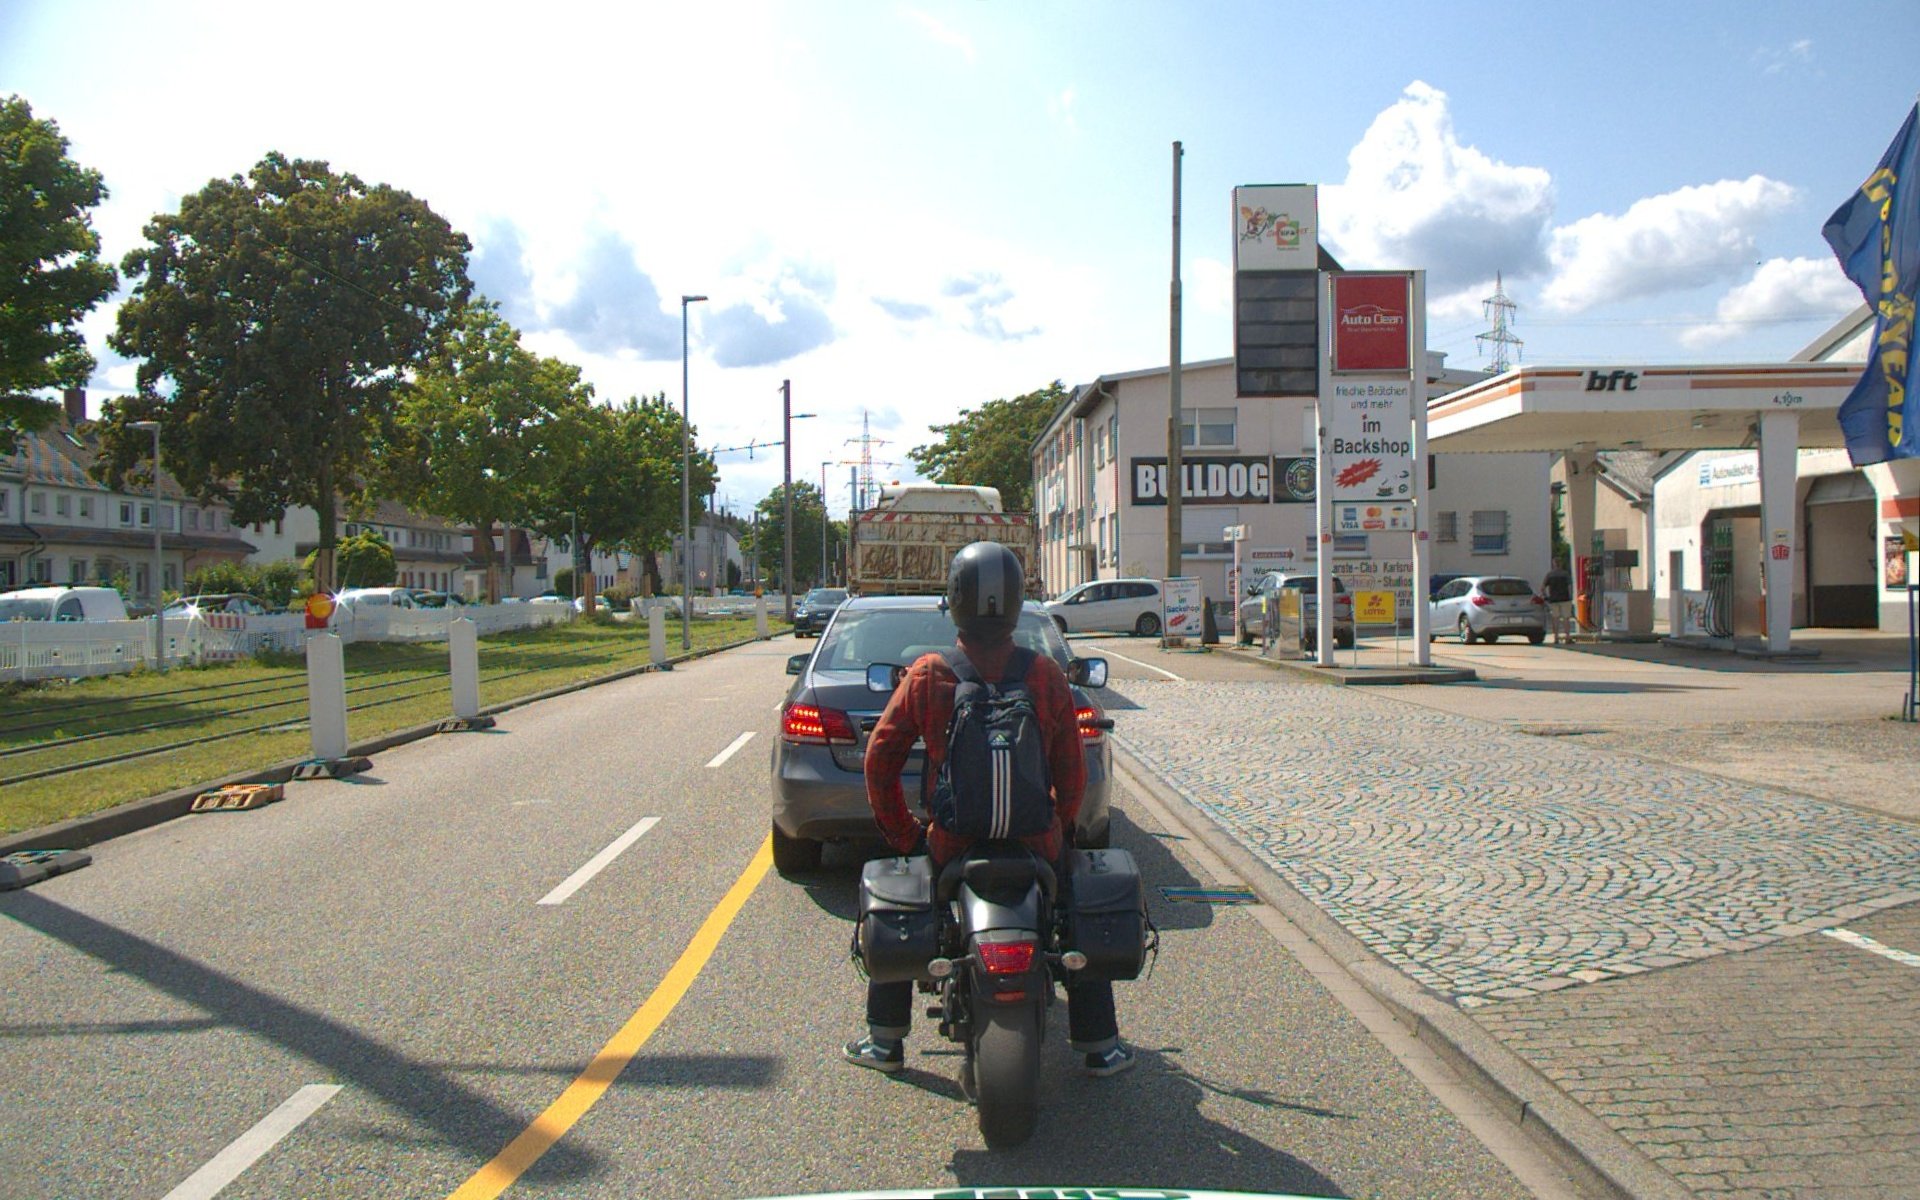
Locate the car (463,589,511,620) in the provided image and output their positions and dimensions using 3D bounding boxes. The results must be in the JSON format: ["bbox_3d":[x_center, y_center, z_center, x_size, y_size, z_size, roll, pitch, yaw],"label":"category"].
[{"bbox_3d":[-28.061,0.259,98.149,1.664,1.770,4.061,-1,0,-1],"label":"car"}]

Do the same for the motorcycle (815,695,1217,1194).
[{"bbox_3d":[0.119,0.902,5.198,0.956,1.031,2.431,1,0,-1],"label":"motorcycle"}]

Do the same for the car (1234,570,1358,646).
[{"bbox_3d":[7.402,0.143,36.759,1.795,1.562,4.008,-1,0,-2],"label":"car"}]

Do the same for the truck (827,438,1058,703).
[{"bbox_3d":[-0.355,-0.420,25.473,2.910,3.362,8.404,-1,0,-2],"label":"truck"}]

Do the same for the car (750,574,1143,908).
[{"bbox_3d":[-0.121,0.636,9.694,1.795,1.505,4.008,-1,0,-2],"label":"car"}]

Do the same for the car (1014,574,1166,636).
[{"bbox_3d":[3.671,0.119,47.088,4.029,1.652,1.682,-1,0,-9],"label":"car"}]

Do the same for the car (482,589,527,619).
[{"bbox_3d":[-28.664,0.230,104.152,1.664,1.770,4.061,-1,0,-1],"label":"car"}]

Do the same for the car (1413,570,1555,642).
[{"bbox_3d":[11.773,0.103,37.424,1.795,1.505,4.008,-1,0,-2],"label":"car"}]

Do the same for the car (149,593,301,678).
[{"bbox_3d":[-16.672,0.759,37.722,1.664,1.770,4.053,-1,0,-1],"label":"car"}]

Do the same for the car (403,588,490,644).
[{"bbox_3d":[-17.019,0.498,54.985,1.664,1.770,3.860,-1,0,-1],"label":"car"}]

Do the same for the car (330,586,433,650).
[{"bbox_3d":[-16.943,0.495,48.619,1.664,1.770,3.860,-1,0,-1],"label":"car"}]

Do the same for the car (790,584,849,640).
[{"bbox_3d":[-4.365,0.346,51.777,1.647,1.652,4.116,-1,0,-3],"label":"car"}]

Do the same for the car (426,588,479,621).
[{"bbox_3d":[-28.181,0.245,91.939,1.664,1.770,4.061,-1,0,-1],"label":"car"}]

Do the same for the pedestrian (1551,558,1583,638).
[{"bbox_3d":[13.135,-0.046,35.796,0.621,1.712,0.622,-1,0,20],"label":"pedestrian"}]

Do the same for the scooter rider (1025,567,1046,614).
[{"bbox_3d":[3.028,-0.381,66.472,0.779,1.850,0.508,-1,0,-1],"label":"scooter rider"}]

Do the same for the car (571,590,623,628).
[{"bbox_3d":[-17.437,0.406,79.526,1.664,1.770,3.860,-1,0,-1],"label":"car"}]

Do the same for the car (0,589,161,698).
[{"bbox_3d":[-16.417,0.745,30.298,1.664,1.849,3.860,-1,0,-1],"label":"car"}]

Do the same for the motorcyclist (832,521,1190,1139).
[{"bbox_3d":[0.130,0.620,5.080,0.950,1.662,1.214,1,0,-1],"label":"motorcyclist"}]

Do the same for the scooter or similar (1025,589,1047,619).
[{"bbox_3d":[3.037,0.152,66.463,0.779,1.165,1.519,-1,0,-1],"label":"scooter or similar"}]
